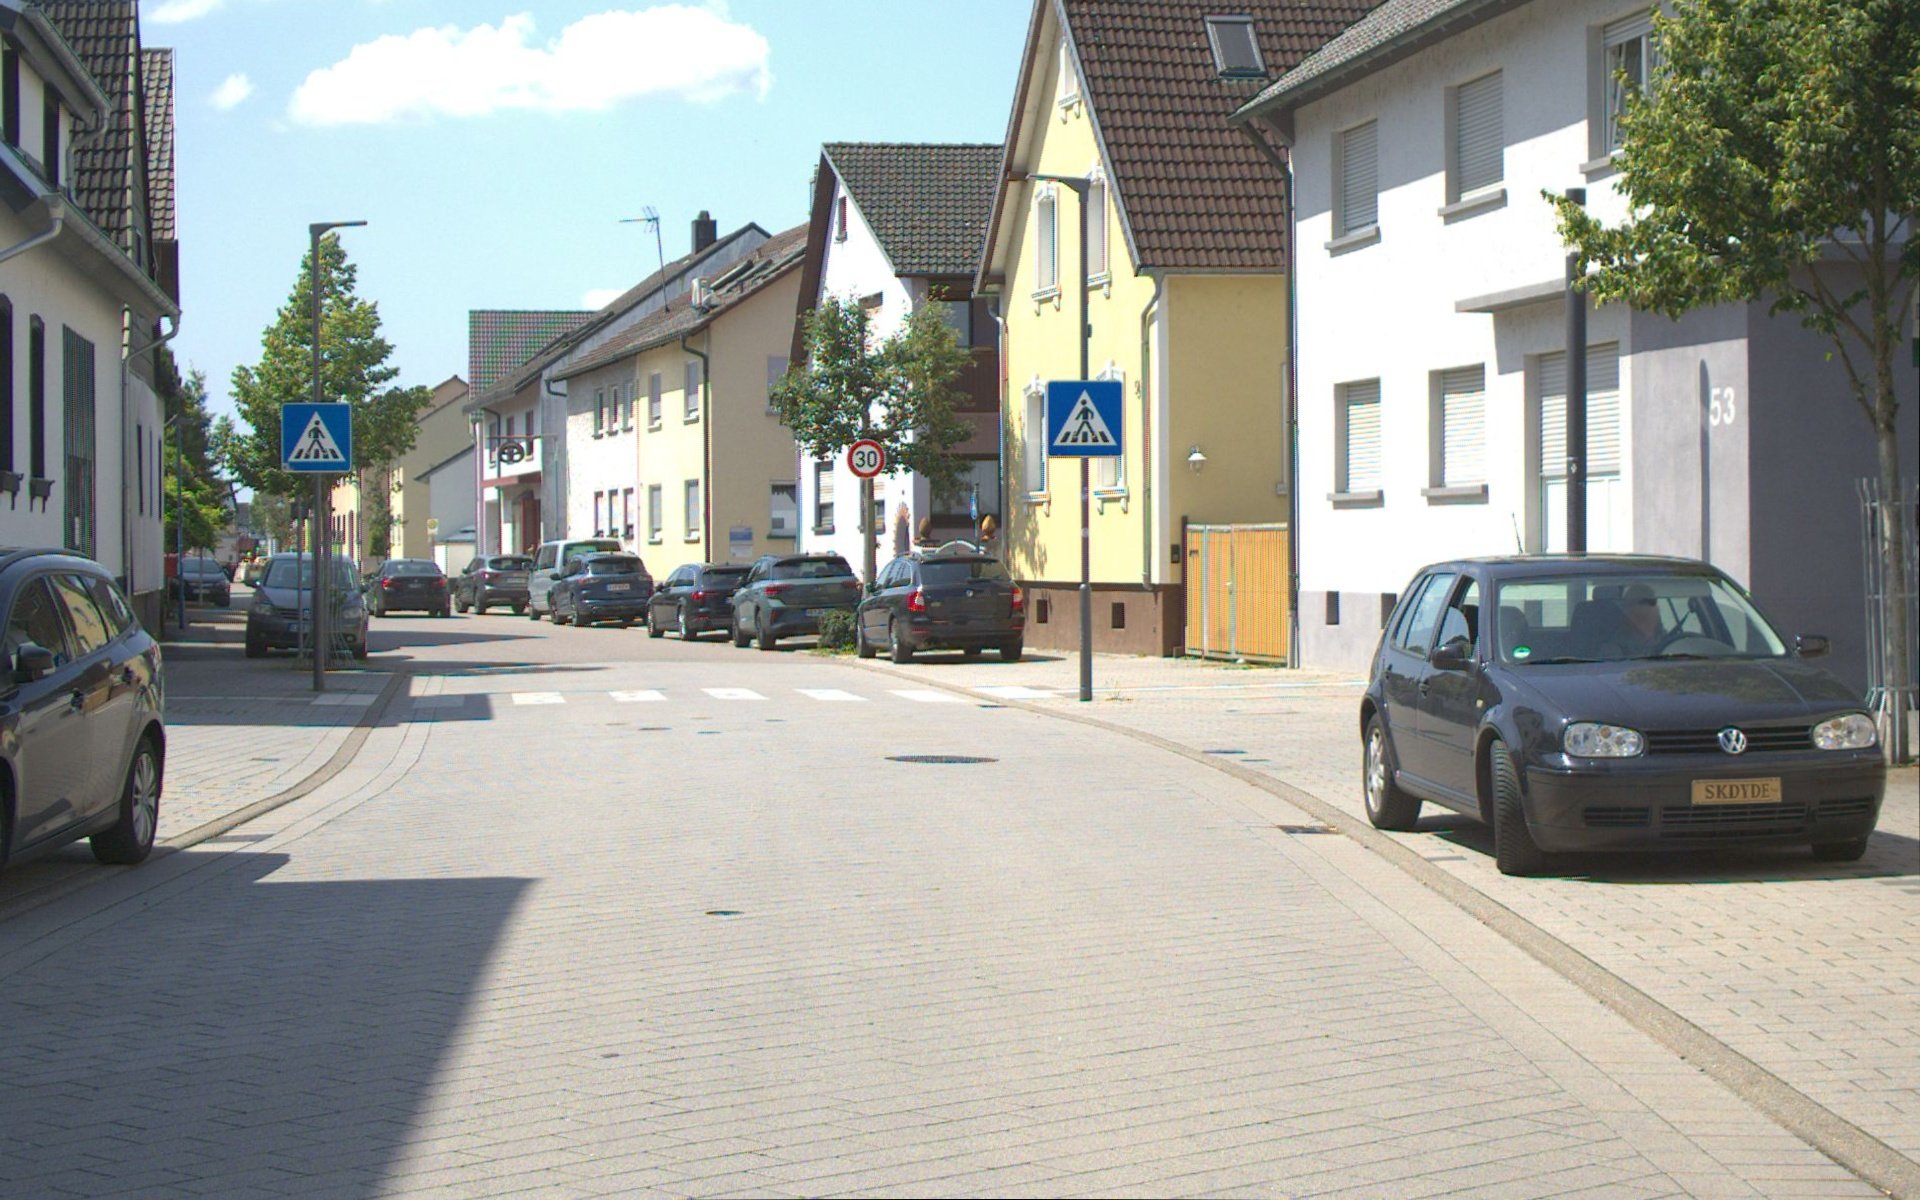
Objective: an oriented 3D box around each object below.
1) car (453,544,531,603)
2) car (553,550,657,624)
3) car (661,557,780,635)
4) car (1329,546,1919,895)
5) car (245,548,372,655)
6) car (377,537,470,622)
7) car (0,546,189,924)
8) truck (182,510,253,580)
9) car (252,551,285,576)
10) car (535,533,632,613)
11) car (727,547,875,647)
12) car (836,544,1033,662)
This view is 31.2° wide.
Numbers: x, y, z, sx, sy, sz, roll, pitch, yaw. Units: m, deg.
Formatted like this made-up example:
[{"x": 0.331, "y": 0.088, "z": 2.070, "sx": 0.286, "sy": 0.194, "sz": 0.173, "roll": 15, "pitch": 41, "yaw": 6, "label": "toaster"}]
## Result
[{"x": -12.530, "y": -0.727, "z": 91.872, "sx": 1.753, "sy": 1.487, "sz": 4.001, "roll": -1, "pitch": 1, "yaw": -12, "label": "car"}, {"x": -8.045, "y": -0.308, "z": 77.687, "sx": 1.877, "sy": 1.586, "sz": 4.001, "roll": -1, "pitch": 1, "yaw": -12, "label": "car"}, {"x": -4.517, "y": -0.099, "z": 64.402, "sx": 1.710, "sy": 1.382, "sz": 3.707, "roll": -1, "pitch": 1, "yaw": -12, "label": "car"}, {"x": 3.130, "y": 0.477, "z": 16.727, "sx": 1.759, "sy": 1.433, "sz": 4.120, "roll": -2, "pitch": 1, "yaw": -6, "label": "car"}, {"x": -9.734, "y": -0.008, "z": 51.567, "sx": 1.746, "sy": 1.525, "sz": 4.001, "roll": 1, "pitch": 1, "yaw": -9, "label": "car"}, {"x": -13.546, "y": -0.541, "z": 86.599, "sx": 1.993, "sy": 2.051, "sz": 4.375, "roll": -1, "pitch": 1, "yaw": -13, "label": "car"}, {"x": -4.748, "y": 0.515, "z": 14.973, "sx": 1.813, "sy": 1.485, "sz": 4.277, "roll": 1, "pitch": 1, "yaw": 0, "label": "car"}, {"x": -43.514, "y": -3.218, "z": 201.314, "sx": 3.563, "sy": 3.940, "sz": 8.584, "roll": -1, "pitch": 1, "yaw": -15, "label": "truck"}, {"x": -40.676, "y": -2.141, "z": 202.092, "sx": 1.687, "sy": 1.447, "sz": 3.794, "roll": -1, "pitch": 1, "yaw": -14, "label": "car"}, {"x": -9.156, "y": -0.681, "z": 83.282, "sx": 1.906, "sy": 1.865, "sz": 4.001, "roll": -1, "pitch": 1, "yaw": -12, "label": "car"}, {"x": -2.668, "y": -0.076, "z": 56.969, "sx": 1.846, "sy": 1.557, "sz": 3.695, "roll": -1, "pitch": 1, "yaw": -12, "label": "car"}, {"x": -0.402, "y": 0.022, "z": 47.496, "sx": 1.828, "sy": 1.466, "sz": 4.277, "roll": -3, "pitch": 1, "yaw": -12, "label": "car"}]
